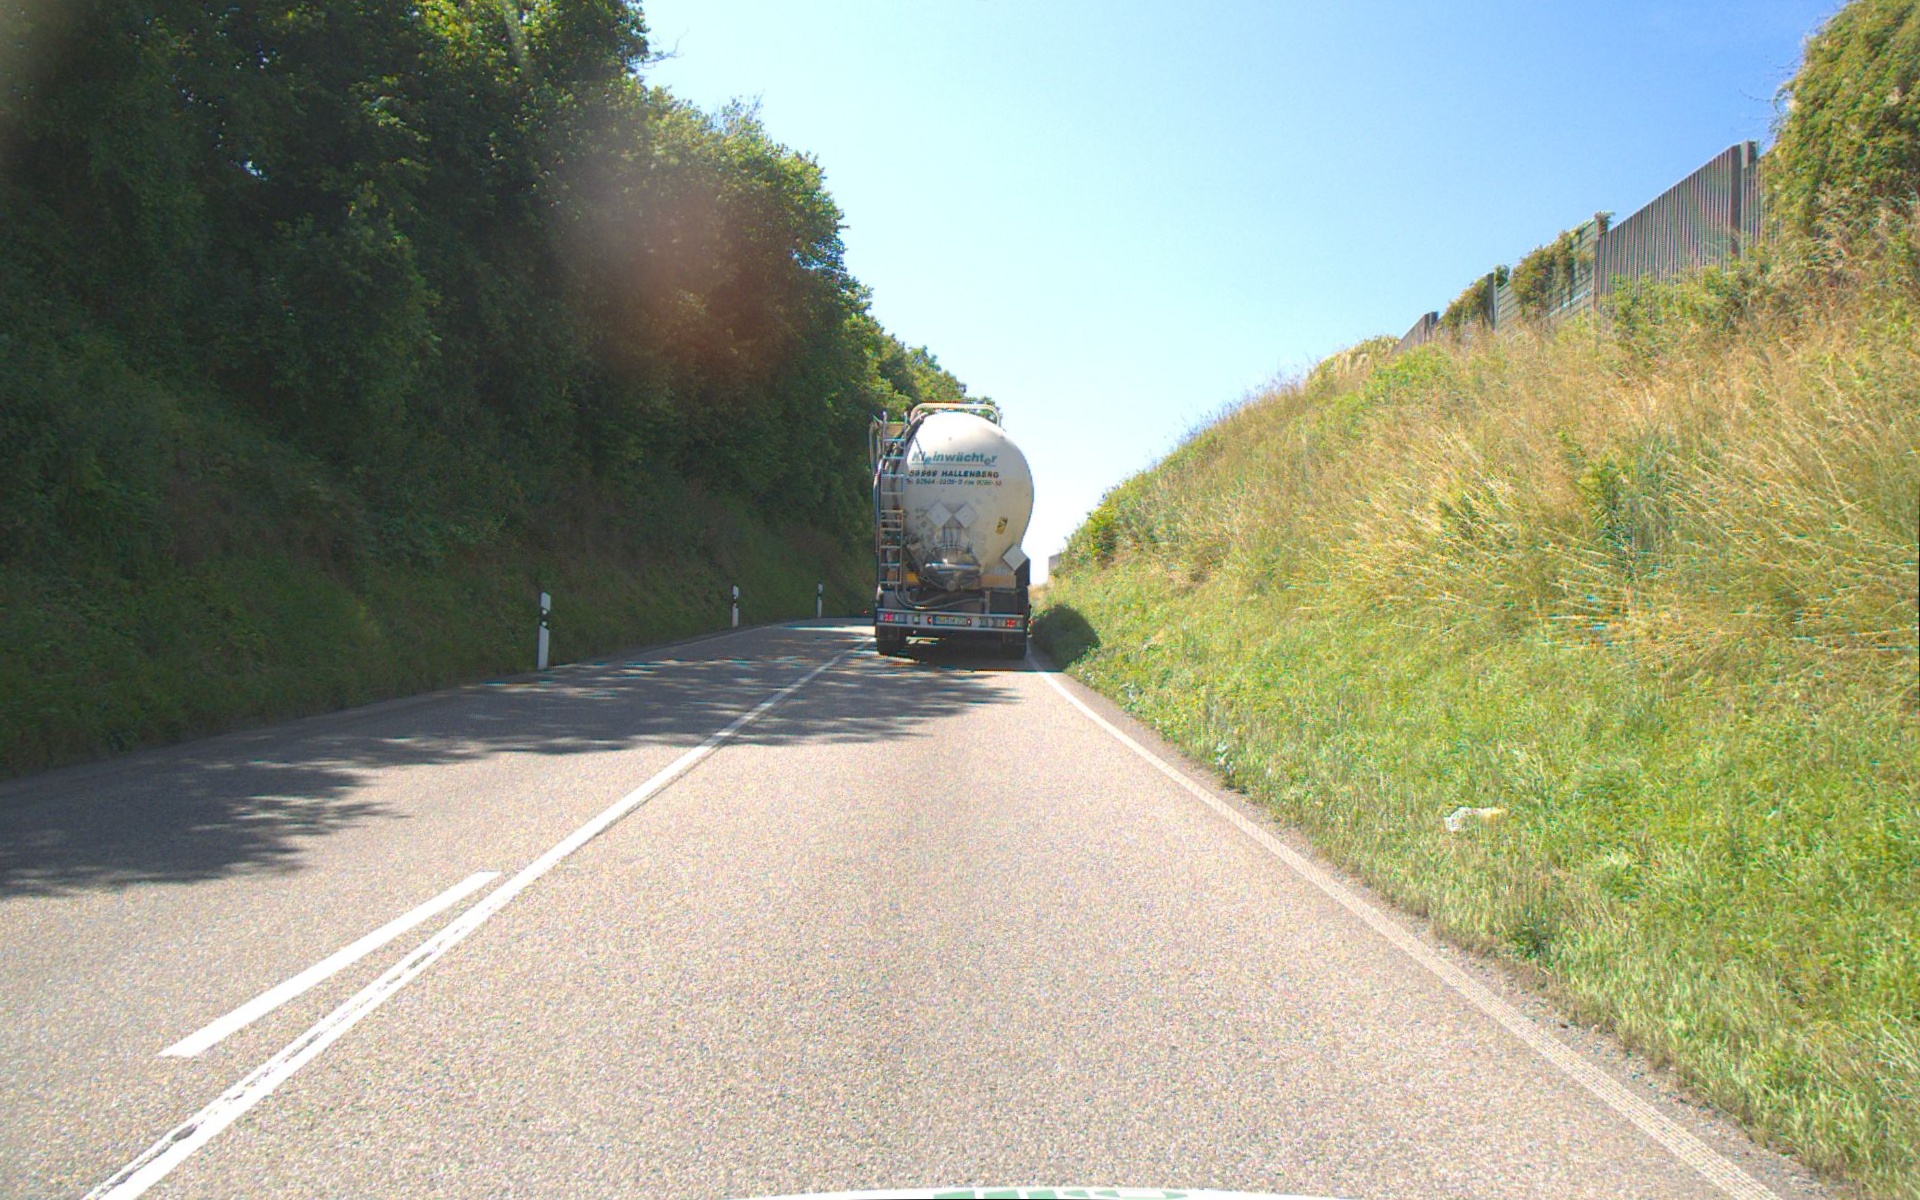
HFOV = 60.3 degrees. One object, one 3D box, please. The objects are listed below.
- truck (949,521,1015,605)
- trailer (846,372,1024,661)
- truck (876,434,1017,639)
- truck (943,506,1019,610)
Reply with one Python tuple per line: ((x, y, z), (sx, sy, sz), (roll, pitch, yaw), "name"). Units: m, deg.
((1.146, -1.780, 83.721), (3.124, 4.002, 8.252), (1, 0, 1), "truck")
((-0.296, -1.382, 30.524), (2.606, 4.261, 11.907), (1, 1, 1), "trailer")
((-0.146, -1.356, 36.426), (2.670, 3.998, 7.266), (1, 1, 2), "truck")
((1.063, -1.915, 77.682), (3.124, 4.384, 11.803), (2, 1, 1), "truck")
